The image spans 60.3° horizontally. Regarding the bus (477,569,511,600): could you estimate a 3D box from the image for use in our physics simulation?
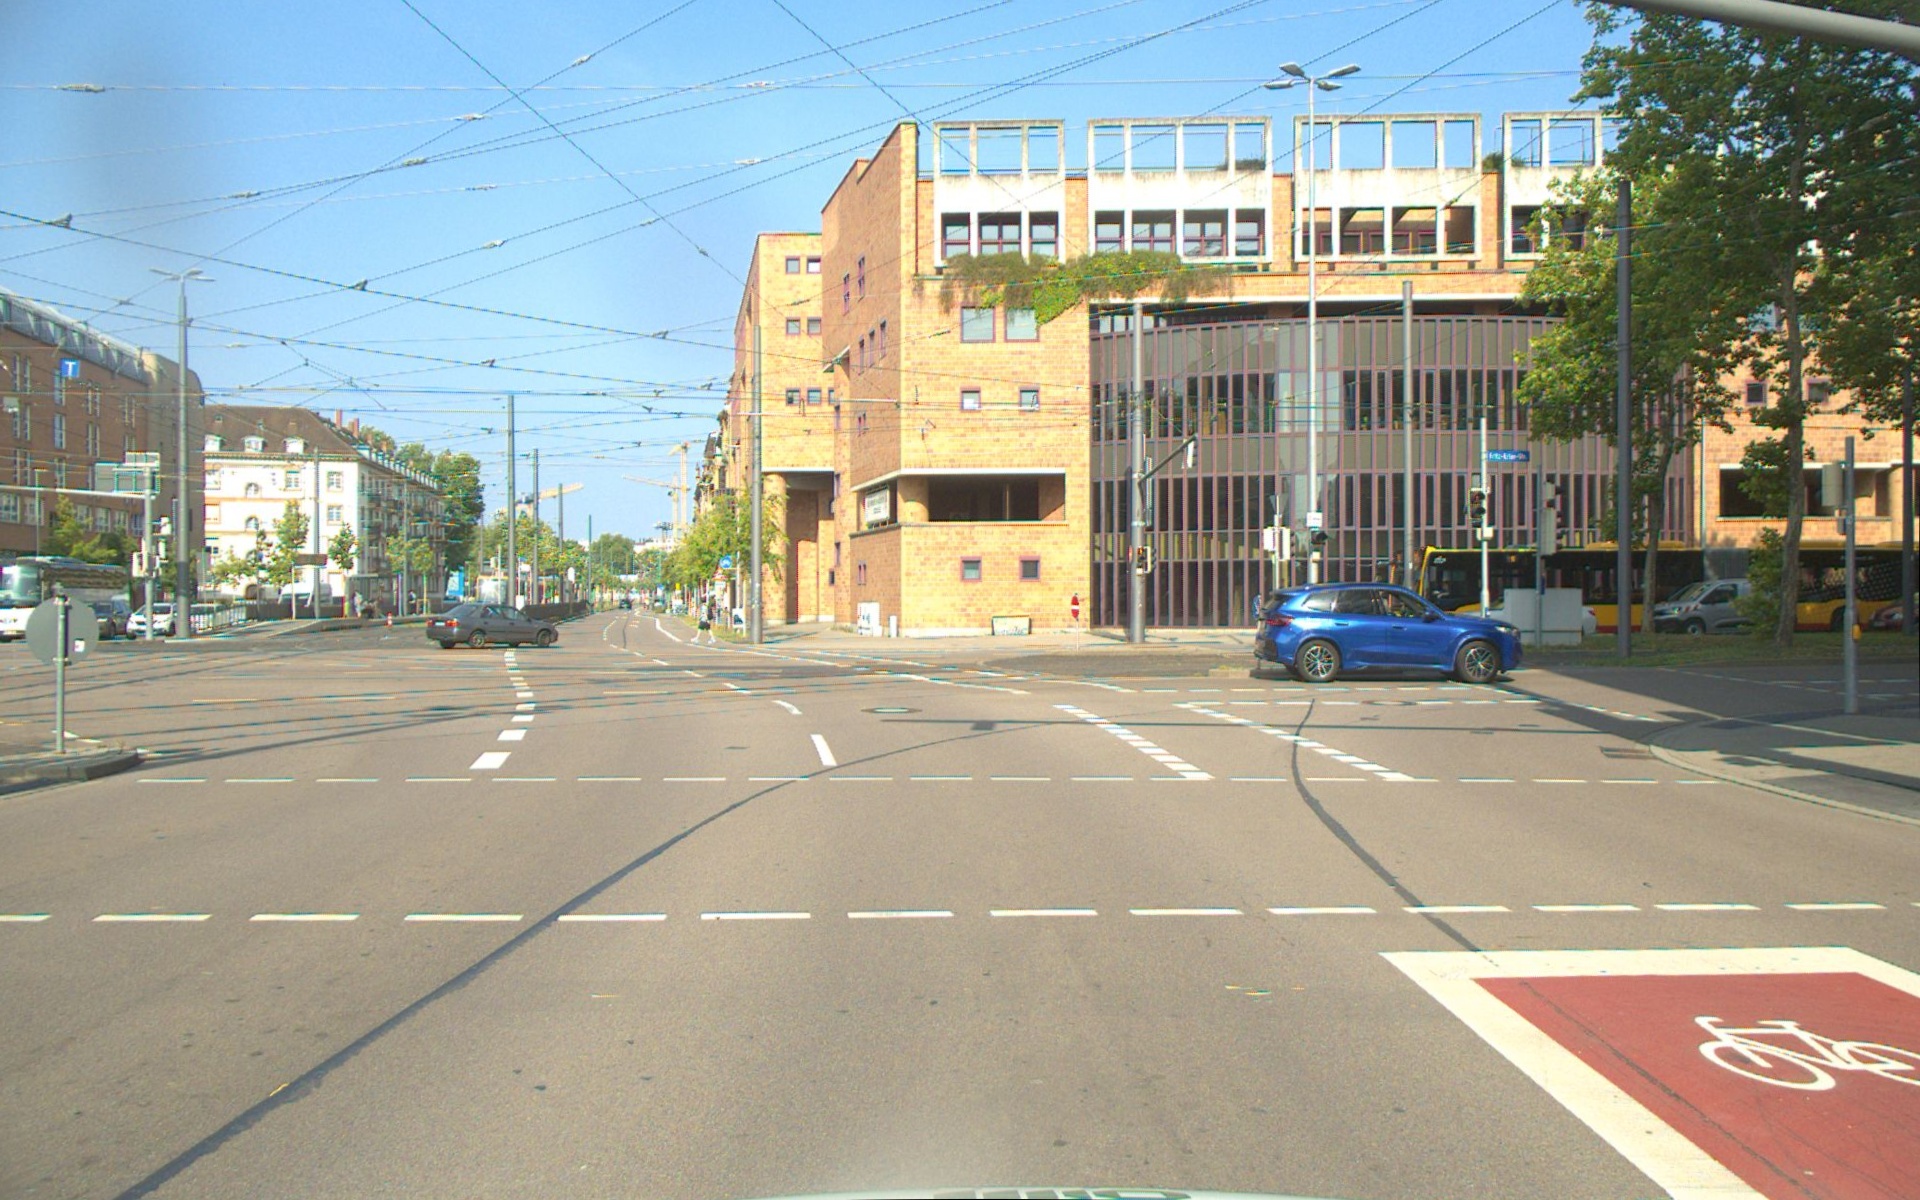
[{"bbox_3d":[-31.419,-1.028,111.622,1.959,2.049,3.987,0,0,-13],"label":"bus"}]

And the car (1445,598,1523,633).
[{"bbox_3d":[15.057,0.434,47.573,1.912,0.975,1.093,0,0,-1],"label":"car"}]

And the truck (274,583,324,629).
[{"bbox_3d":[-39.640,0.375,99.293,1.958,2.644,4.727,0,-1,-11],"label":"truck"}]

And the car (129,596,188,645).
[{"bbox_3d":[-34.071,0.884,70.346,1.572,2.049,2.723,0,-1,-10],"label":"car"}]

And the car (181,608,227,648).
[{"bbox_3d":[-34.981,1.311,76.562,1.186,1.791,2.604,0,-1,-8],"label":"car"}]

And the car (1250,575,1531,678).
[{"bbox_3d":[7.257,0.462,28.236,4.308,1.664,1.992,0,-1,2],"label":"car"}]

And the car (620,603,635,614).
[{"bbox_3d":[-49.672,1.219,246.776,2.038,1.569,4.397,0,-1,-14],"label":"car"}]

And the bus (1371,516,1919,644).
[{"bbox_3d":[21.893,-0.612,52.825,17.285,3.877,2.858,0,-2,-10],"label":"bus"}]

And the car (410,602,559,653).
[{"bbox_3d":[-14.920,0.880,52.076,1.961,1.513,4.203,-2,-2,37],"label":"car"}]

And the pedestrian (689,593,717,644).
[{"bbox_3d":[-10.330,0.738,66.532,0.823,2.049,0.811,0,0,15],"label":"pedestrian"}]

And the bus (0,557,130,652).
[{"bbox_3d":[-41.055,0.341,75.365,2.698,3.990,12.180,0,-1,-12],"label":"bus"}]

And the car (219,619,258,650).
[{"bbox_3d":[-36.485,1.754,83.634,1.367,1.506,2.732,0,-1,-14],"label":"car"}]
